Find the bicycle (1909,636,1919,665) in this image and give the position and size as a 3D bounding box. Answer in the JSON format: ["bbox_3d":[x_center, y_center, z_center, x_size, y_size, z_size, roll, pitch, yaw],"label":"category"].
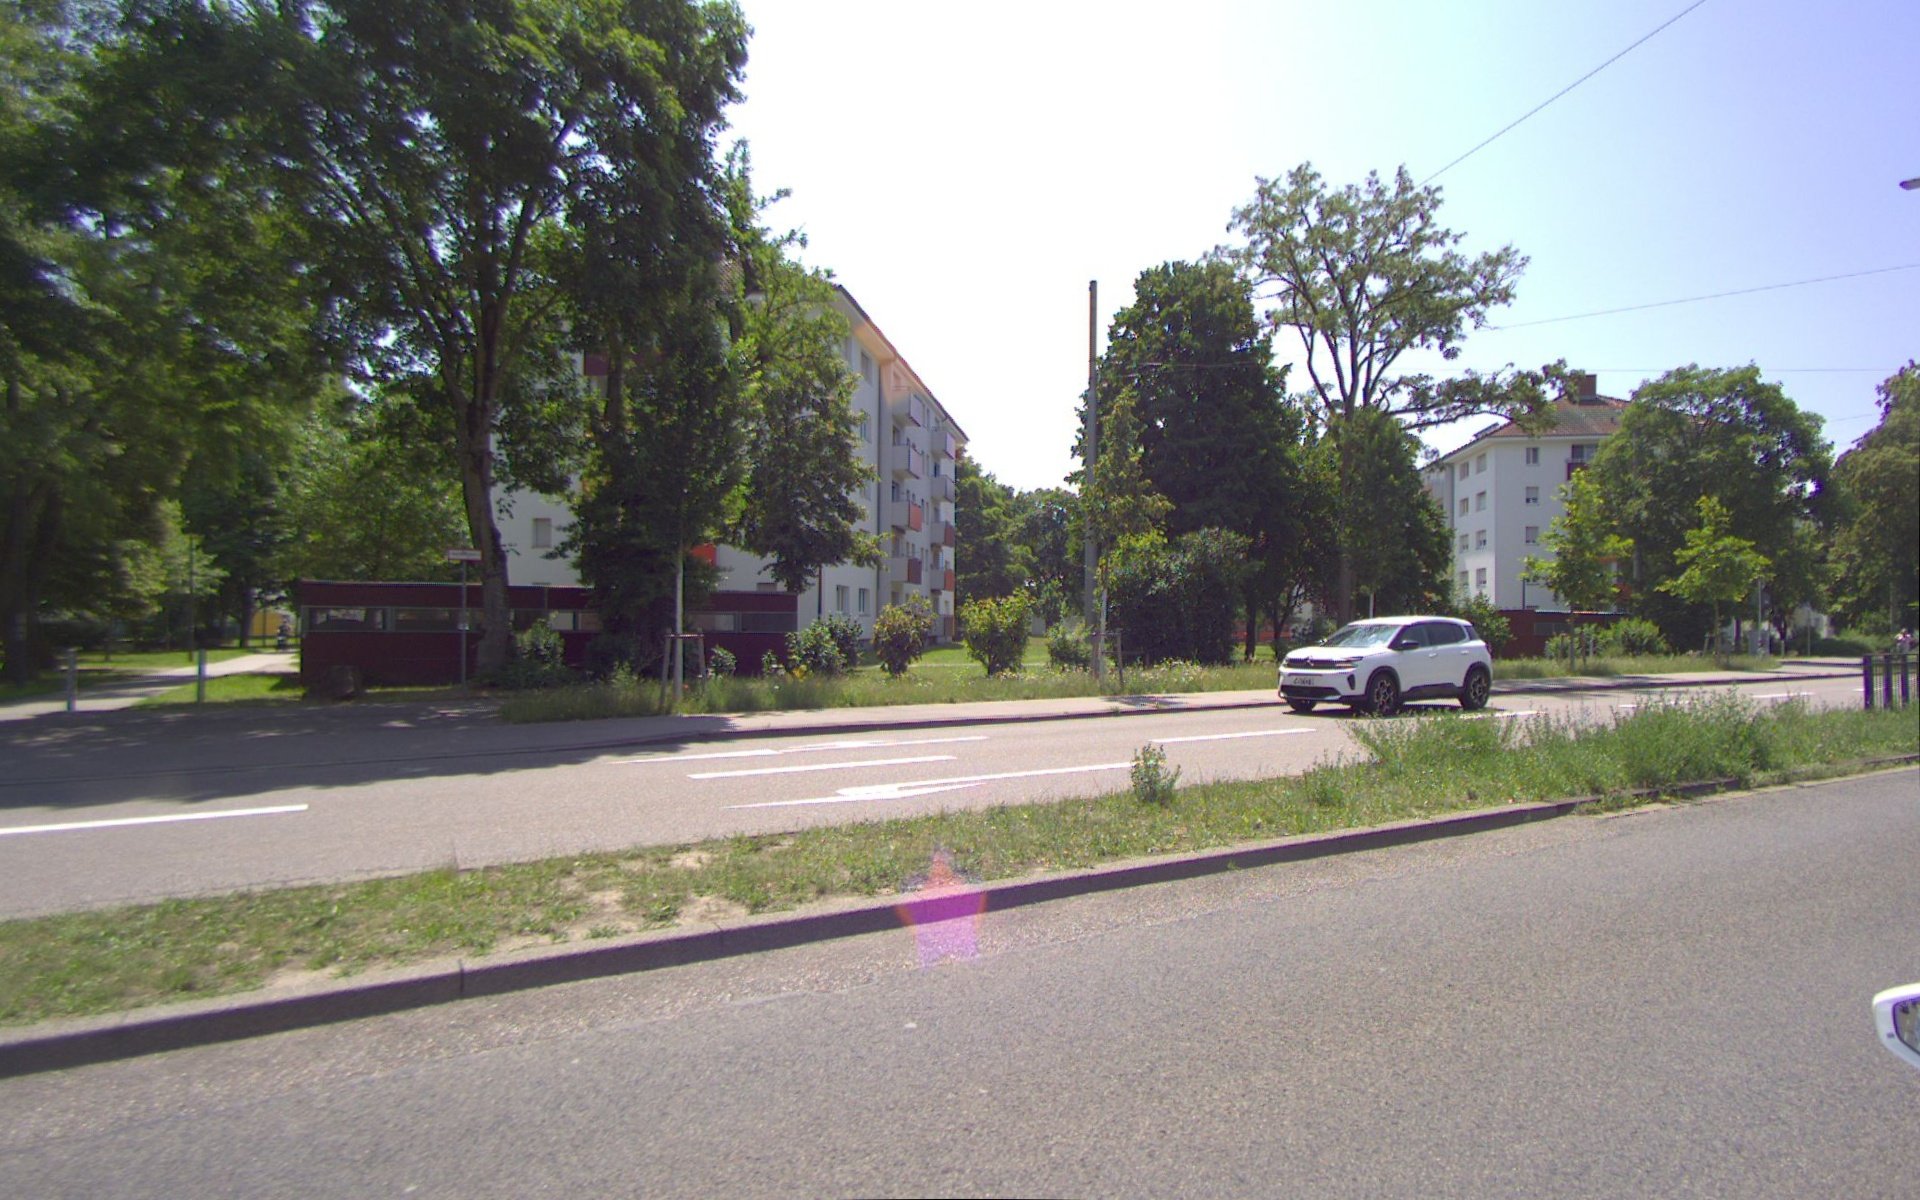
[{"bbox_3d":[39.964,2.086,41.584,1.597,1.148,0.585,1,-2,-31],"label":"bicycle"}]

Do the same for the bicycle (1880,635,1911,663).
[{"bbox_3d":[39.369,2.060,42.278,1.363,1.109,0.551,2,0,-30],"label":"bicycle"}]

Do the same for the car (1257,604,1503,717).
[{"bbox_3d":[7.543,1.077,17.946,4.430,1.781,1.850,2,-3,-32],"label":"car"}]

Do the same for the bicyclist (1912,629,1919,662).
[{"bbox_3d":[39.851,1.882,41.515,0.747,1.363,0.542,1,-2,-32],"label":"bicyclist"}]

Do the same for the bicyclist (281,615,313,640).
[{"bbox_3d":[-35.241,1.452,53.374,0.752,1.301,1.779,1,-2,-10],"label":"bicyclist"}]

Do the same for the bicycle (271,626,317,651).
[{"bbox_3d":[-35.186,2.005,53.108,0.922,1.261,3.009,1,-2,-10],"label":"bicycle"}]

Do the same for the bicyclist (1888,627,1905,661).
[{"bbox_3d":[39.419,1.848,42.288,0.435,1.410,0.356,1,1,-28],"label":"bicyclist"}]
